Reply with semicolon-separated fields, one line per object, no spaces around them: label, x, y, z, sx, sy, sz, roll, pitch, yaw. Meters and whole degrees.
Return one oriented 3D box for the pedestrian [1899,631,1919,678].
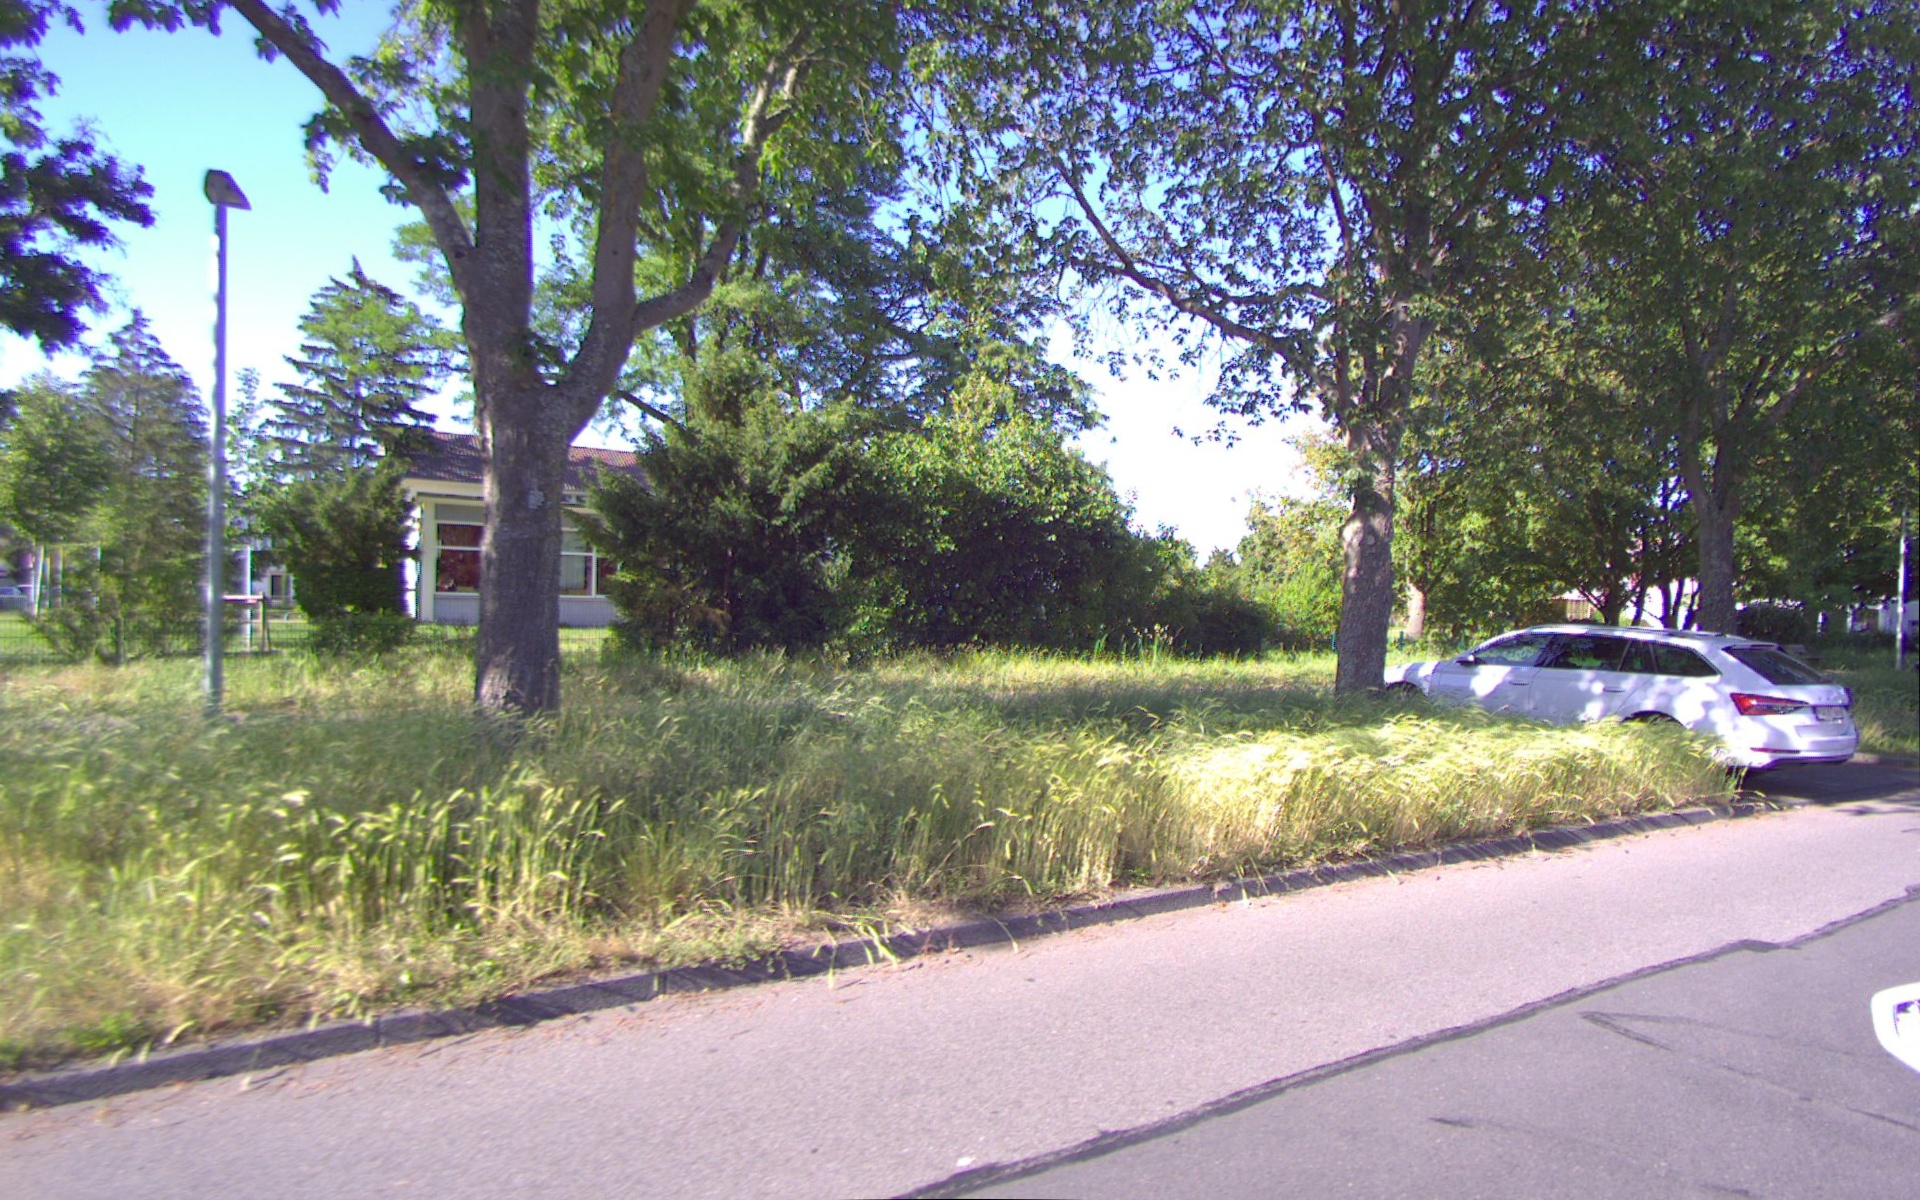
pedestrian;39.608;2.254;41.411;1.212;1.851;1.542;4;1;44

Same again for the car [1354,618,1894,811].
car;6.996;1.052;11.229;1.975;1.523;4.652;2;0;-28
